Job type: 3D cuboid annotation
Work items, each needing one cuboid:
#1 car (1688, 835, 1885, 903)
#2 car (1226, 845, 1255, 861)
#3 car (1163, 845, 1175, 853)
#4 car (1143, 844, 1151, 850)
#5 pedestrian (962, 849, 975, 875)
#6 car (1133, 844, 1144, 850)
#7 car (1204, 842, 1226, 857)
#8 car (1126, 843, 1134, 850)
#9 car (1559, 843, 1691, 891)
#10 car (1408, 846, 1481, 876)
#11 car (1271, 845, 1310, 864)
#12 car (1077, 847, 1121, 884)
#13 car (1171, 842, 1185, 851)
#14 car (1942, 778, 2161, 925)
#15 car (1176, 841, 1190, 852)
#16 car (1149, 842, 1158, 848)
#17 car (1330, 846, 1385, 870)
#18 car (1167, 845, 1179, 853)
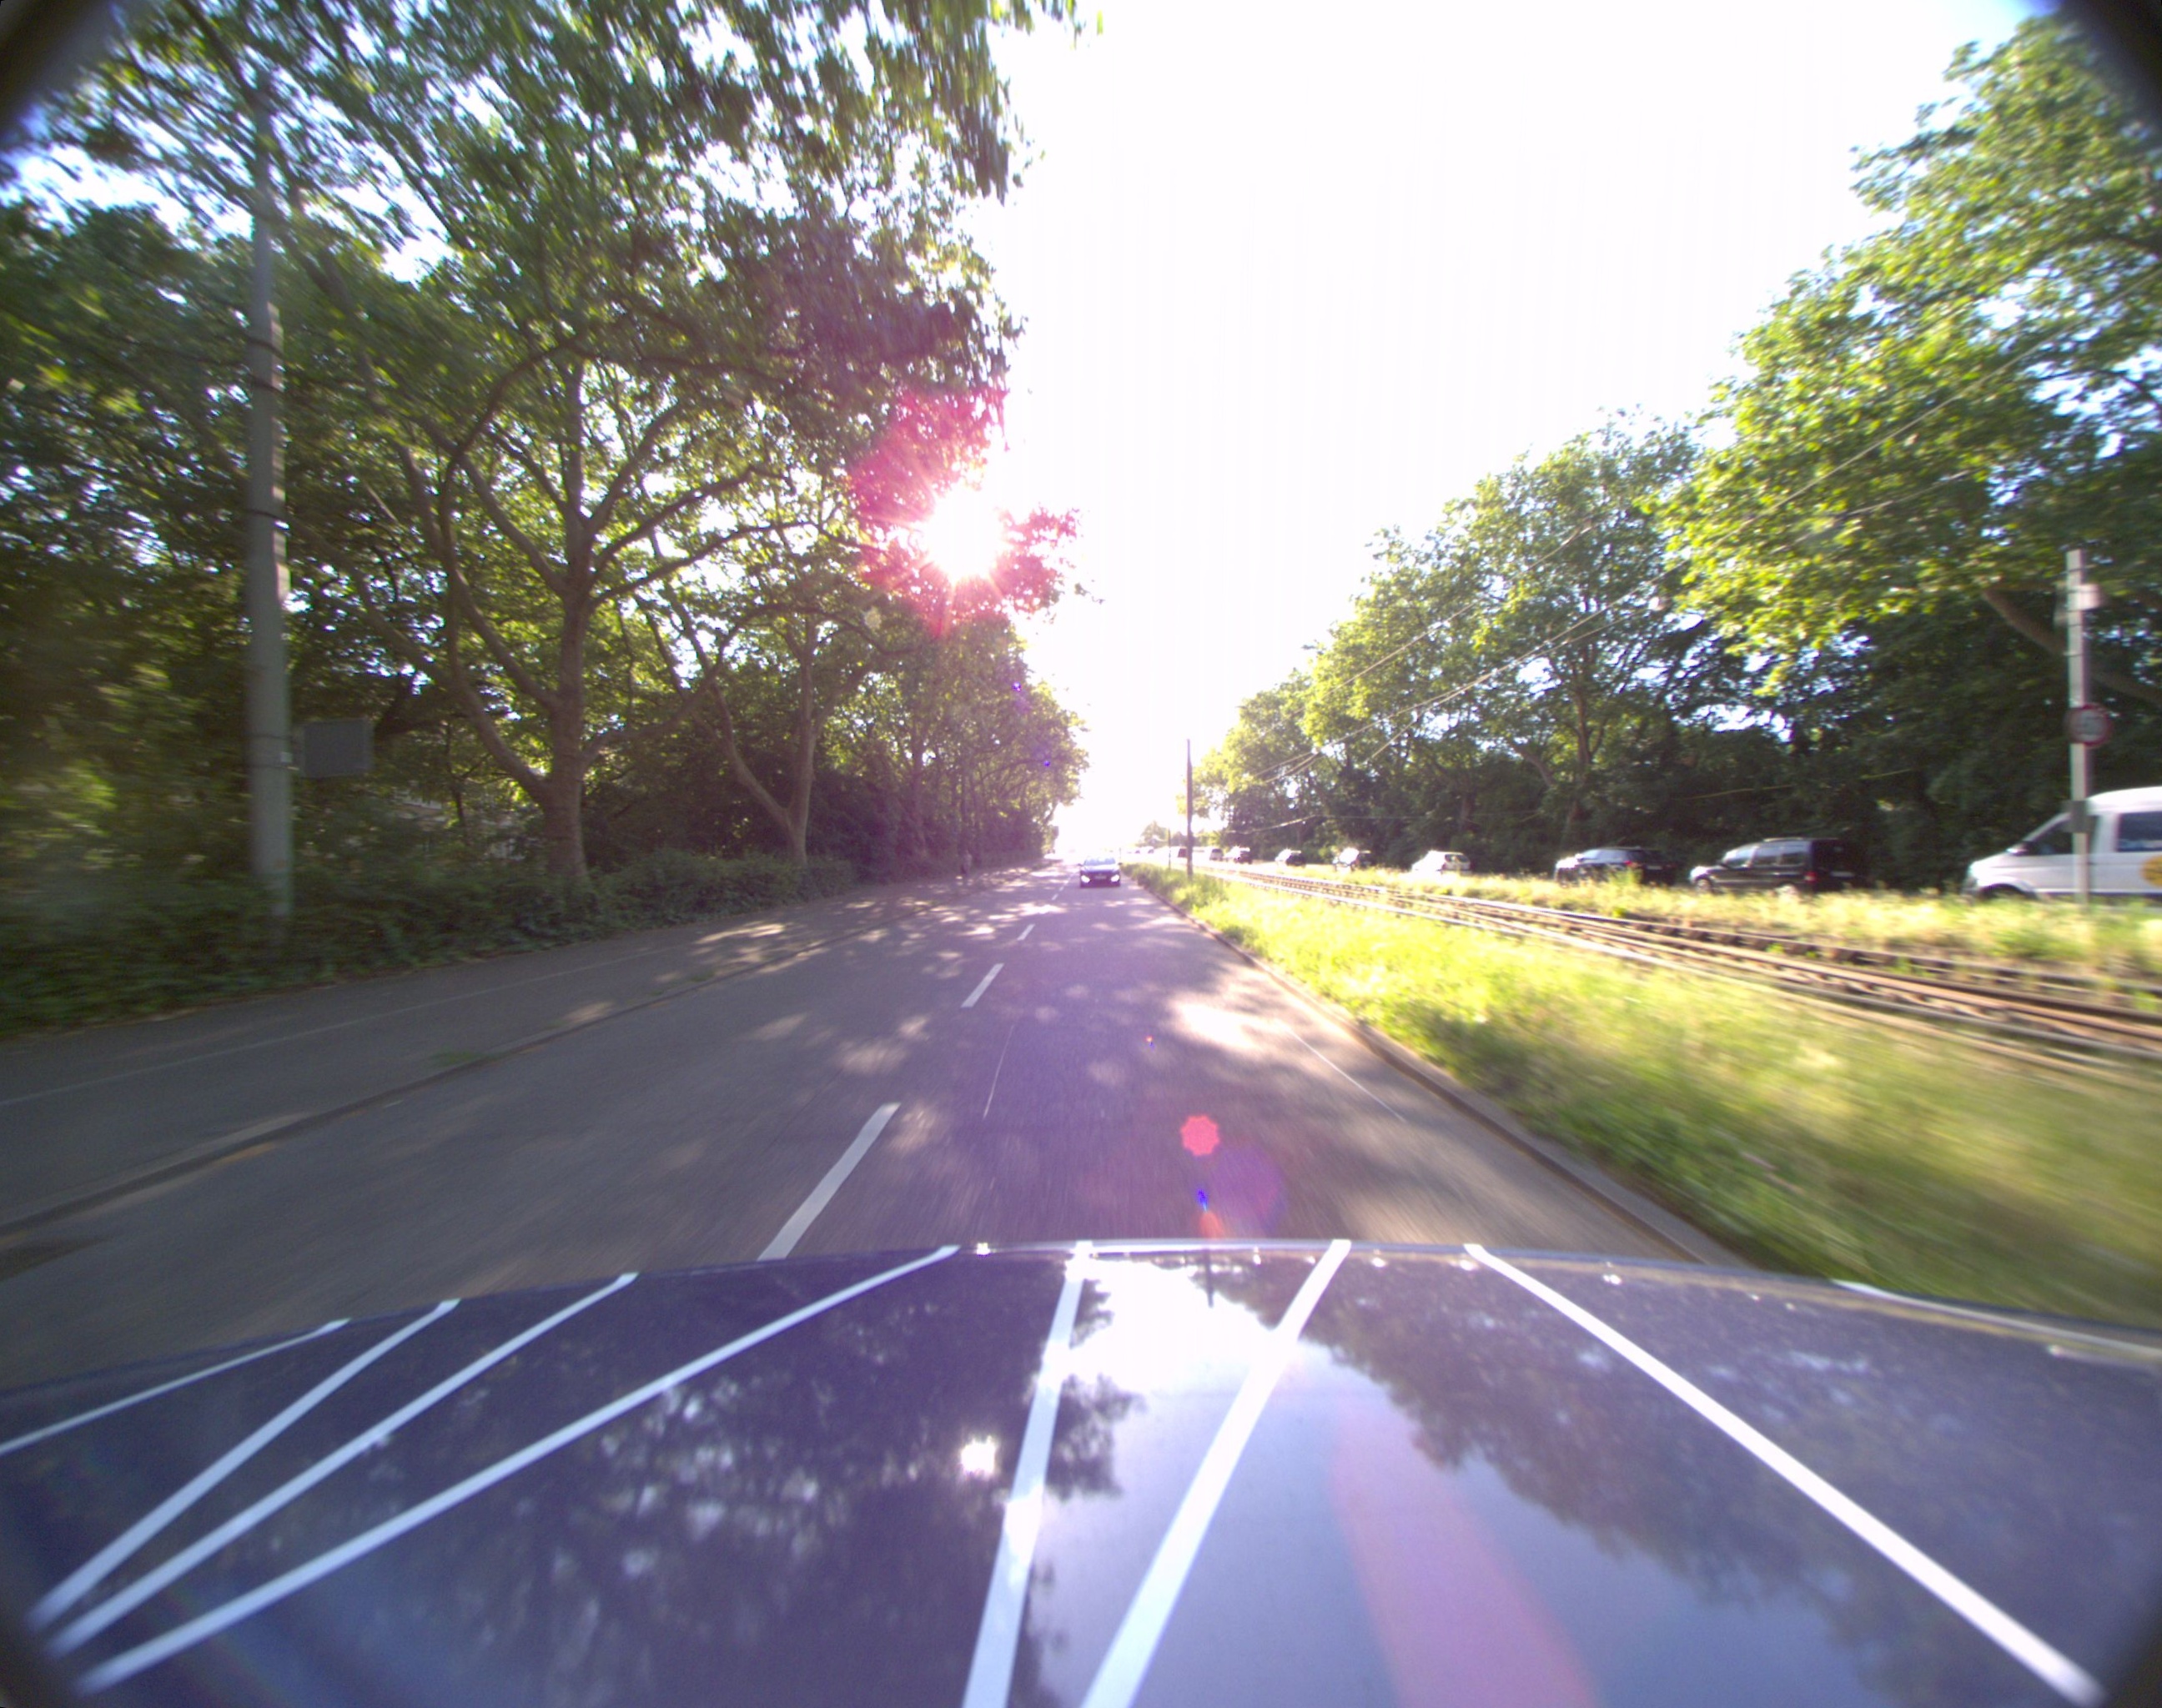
[{"bbox_3d":[19.395,0.350,21.146,1.744,1.718,3.880,1,1,-2],"label":"car"},{"bbox_3d":[17.211,-0.132,82.186,1.832,1.709,4.391,1,1,-6],"label":"car"},{"bbox_3d":[16.553,-1.000,142.744,1.658,1.491,3.923,1,1,-2],"label":"car"},{"bbox_3d":[16.431,-1.685,190.405,1.658,1.491,3.924,1,1,0],"label":"car"},{"bbox_3d":[-7.261,0.522,48.969,0.649,1.626,0.927,1,1,1],"label":"pedestrian"},{"bbox_3d":[13.213,-1.626,174.864,1.925,1.407,4.748,1,1,-2],"label":"car"},{"bbox_3d":[17.268,-0.602,98.131,1.832,1.830,4.393,1,1,-2],"label":"car"},{"bbox_3d":[13.141,-2.048,203.931,1.832,1.841,5.035,1,1,-1],"label":"car"},{"bbox_3d":[19.127,0.394,26.939,1.744,1.546,3.880,1,1,-2],"label":"car"},{"bbox_3d":[18.665,0.342,39.211,1.744,1.428,3.850,1,1,-2],"label":"car"},{"bbox_3d":[17.445,0.032,63.503,1.832,1.497,4.393,1,1,-2],"label":"car"},{"bbox_3d":[0.768,0.486,34.622,1.799,1.501,3.999,-2,0,0],"label":"car"},{"bbox_3d":[16.817,-1.294,131.849,1.658,1.434,3.784,1,1,-2],"label":"car"},{"bbox_3d":[19.459,-0.030,13.089,2.189,2.506,6.047,1,1,-2],"label":"car"},{"bbox_3d":[16.916,-1.261,126.297,1.735,1.730,3.898,1,1,-2],"label":"car"},{"bbox_3d":[17.053,-2.163,179.181,1.658,1.491,3.924,1,1,-1],"label":"car"},{"bbox_3d":[18.085,0.230,49.891,1.832,1.428,4.322,1,1,-2],"label":"car"},{"bbox_3d":[16.618,-0.857,137.349,1.658,1.434,3.784,1,1,-1],"label":"car"}]
